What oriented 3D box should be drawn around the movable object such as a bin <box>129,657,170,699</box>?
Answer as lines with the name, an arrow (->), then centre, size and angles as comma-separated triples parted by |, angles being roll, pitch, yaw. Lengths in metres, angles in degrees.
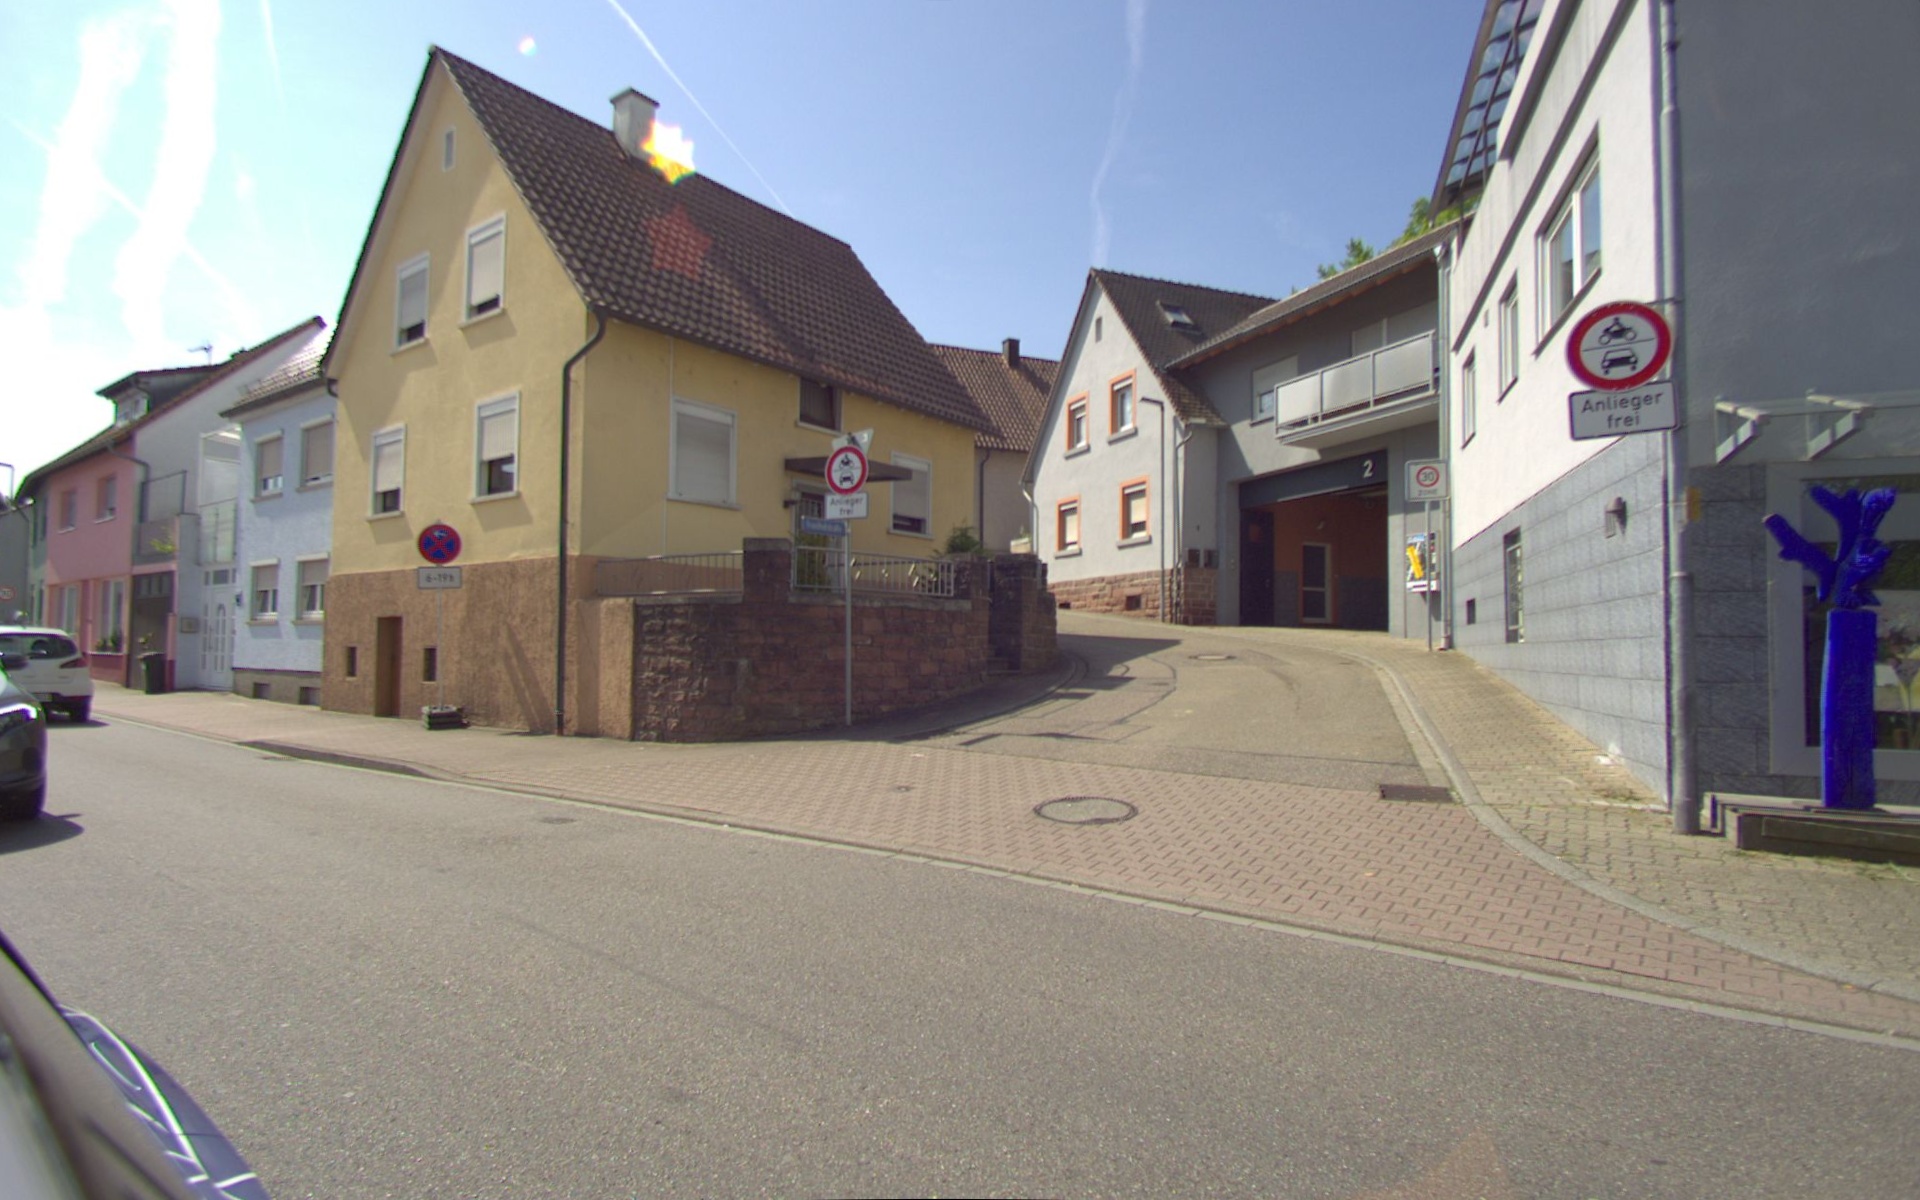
movable object such as a bin -> -18.379, 1.757, 22.947 | 0.599, 0.886, 0.623 | -1, 0, 40

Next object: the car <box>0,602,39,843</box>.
car -> -8.395, 0.848, 7.532 | 4.286, 1.585, 1.716 | -2, -1, 40

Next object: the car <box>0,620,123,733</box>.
car -> -14.509, 1.121, 15.574 | 3.807, 1.554, 1.712 | -2, -4, 38
